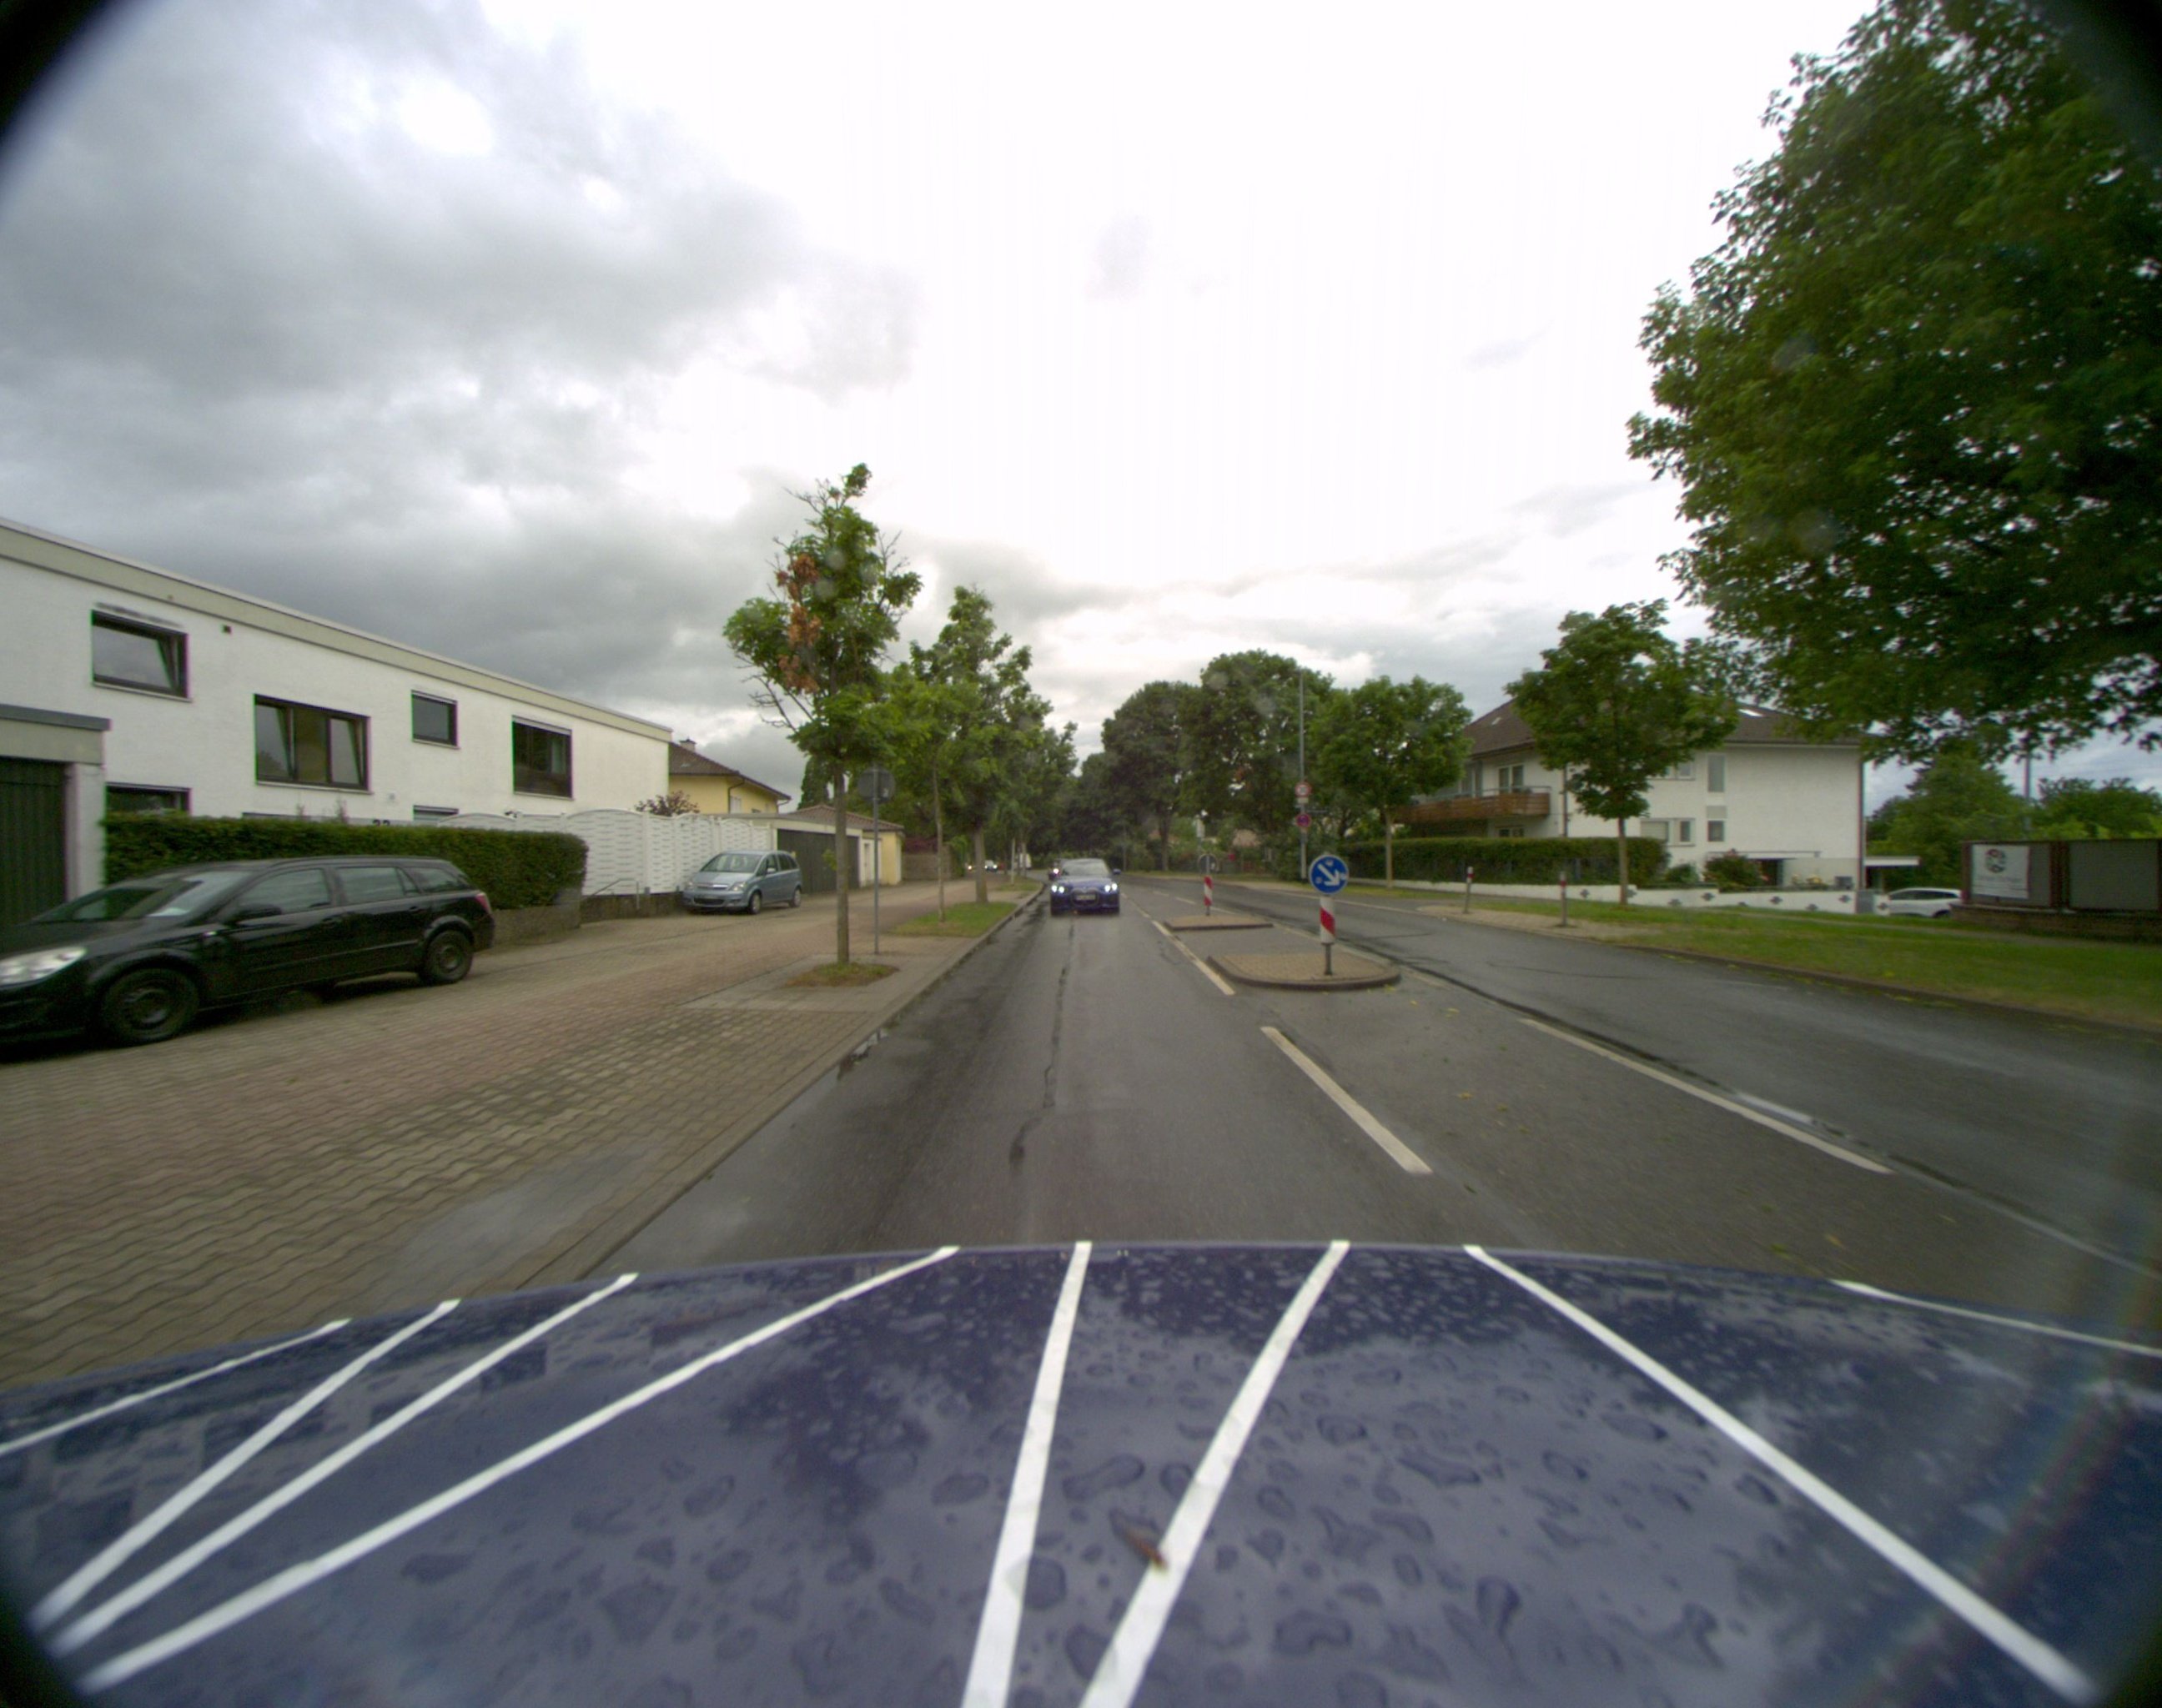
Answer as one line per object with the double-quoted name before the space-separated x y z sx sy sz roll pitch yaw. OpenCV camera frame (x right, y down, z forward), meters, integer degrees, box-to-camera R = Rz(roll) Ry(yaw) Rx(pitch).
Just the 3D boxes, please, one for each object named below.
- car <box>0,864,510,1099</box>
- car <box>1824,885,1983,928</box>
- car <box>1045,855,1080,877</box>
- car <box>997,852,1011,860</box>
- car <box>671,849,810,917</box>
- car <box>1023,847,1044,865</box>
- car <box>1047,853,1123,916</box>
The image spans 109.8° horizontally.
"car" -7.995 0.873 7.131 1.775 1.489 4.544 0 0 1
"car" 33.811 2.110 31.415 2.000 1.499 4.046 0 0 -8
"car" -1.364 0.892 53.861 1.658 1.443 3.997 -3 -1 -13
"car" -15.102 0.419 148.856 1.850 1.457 4.244 -1 -1 -16
"car" -8.722 0.687 19.866 1.748 1.601 4.000 0 0 1
"car" -7.084 0.364 112.324 2.001 2.545 5.226 -1 -1 -16
"car" 0.105 0.842 21.866 1.895 1.531 4.001 -3 -1 0
